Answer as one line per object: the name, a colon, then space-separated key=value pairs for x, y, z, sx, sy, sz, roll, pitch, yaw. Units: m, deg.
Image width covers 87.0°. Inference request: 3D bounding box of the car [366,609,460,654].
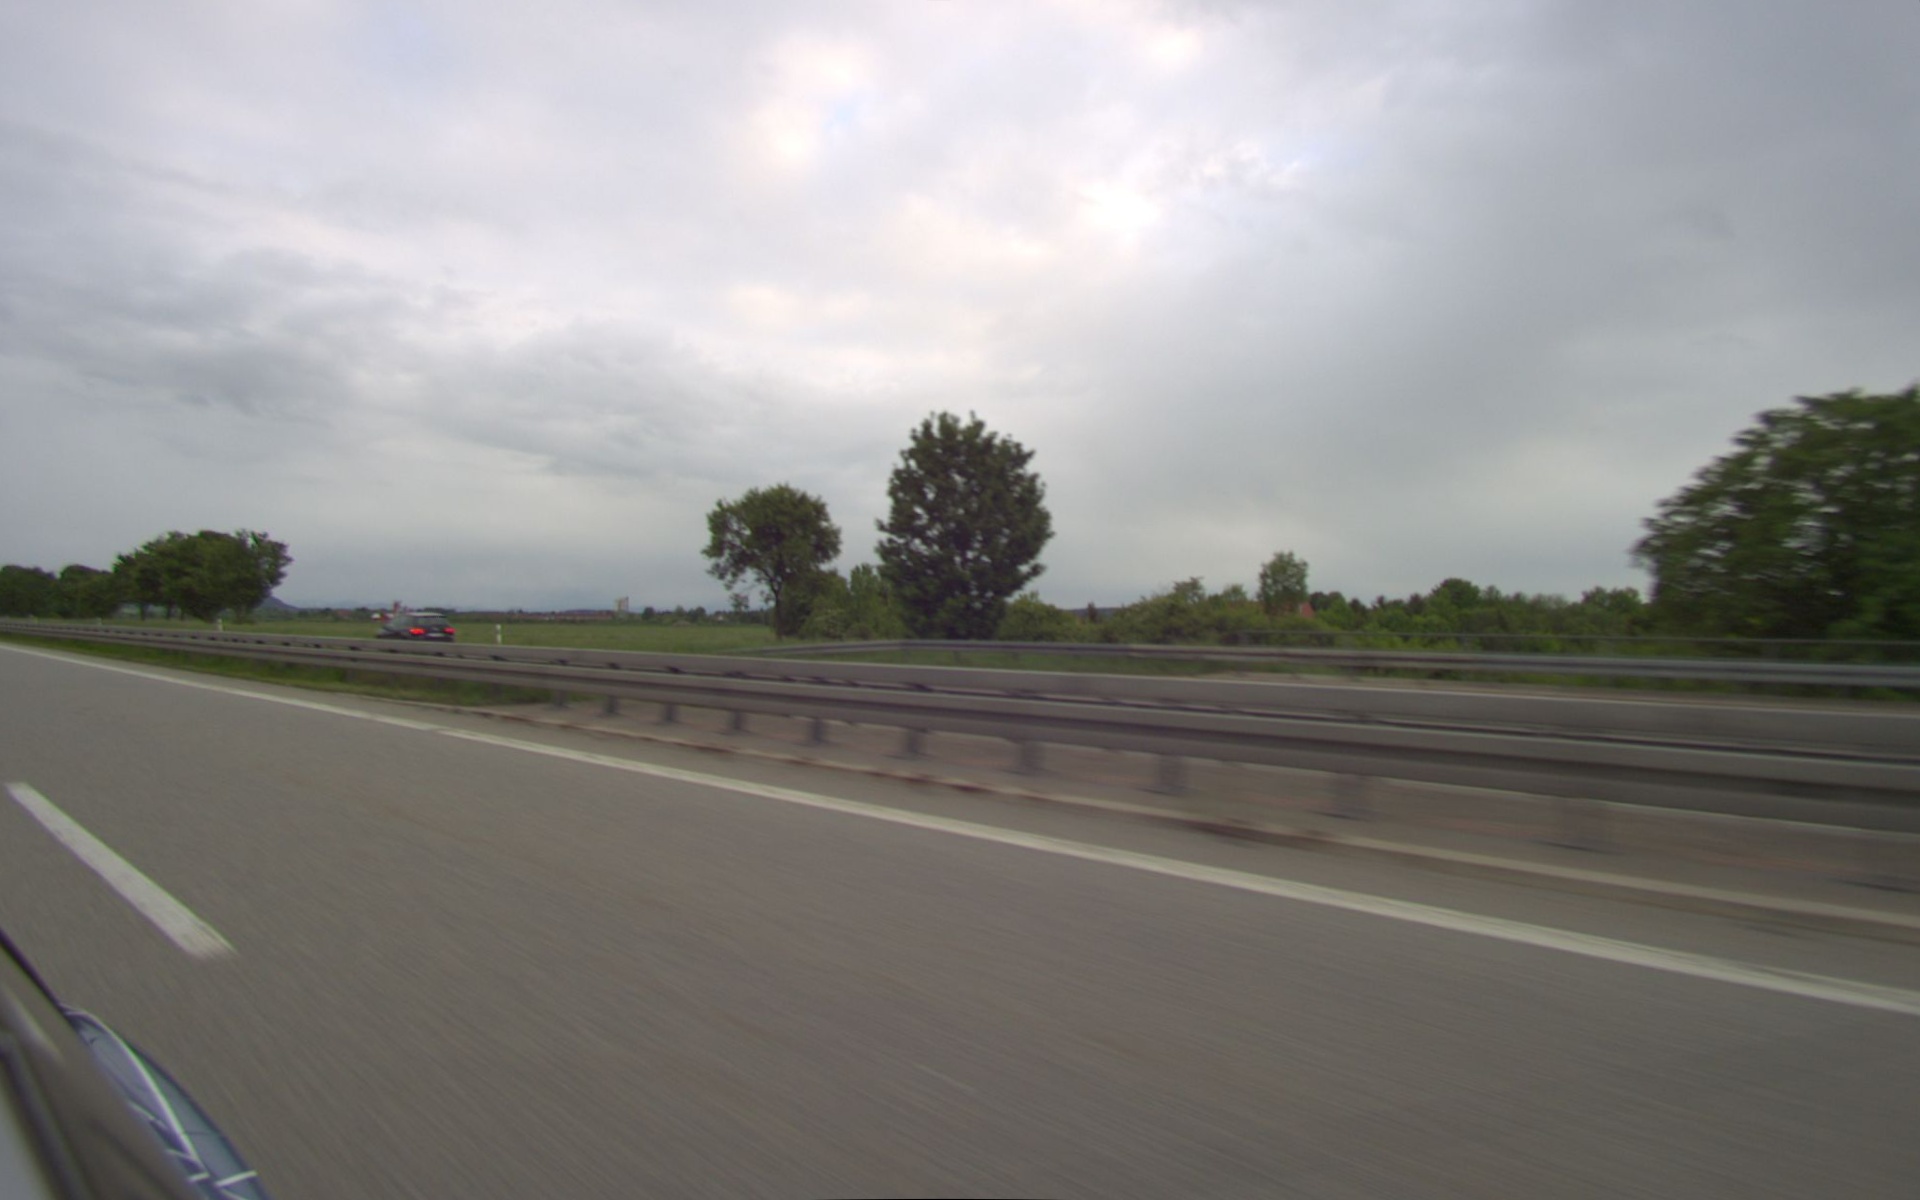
car: x=-21.782 y=1.212 z=40.236 sx=4.521 sy=1.574 sz=1.799 roll=0 pitch=2 yaw=41
